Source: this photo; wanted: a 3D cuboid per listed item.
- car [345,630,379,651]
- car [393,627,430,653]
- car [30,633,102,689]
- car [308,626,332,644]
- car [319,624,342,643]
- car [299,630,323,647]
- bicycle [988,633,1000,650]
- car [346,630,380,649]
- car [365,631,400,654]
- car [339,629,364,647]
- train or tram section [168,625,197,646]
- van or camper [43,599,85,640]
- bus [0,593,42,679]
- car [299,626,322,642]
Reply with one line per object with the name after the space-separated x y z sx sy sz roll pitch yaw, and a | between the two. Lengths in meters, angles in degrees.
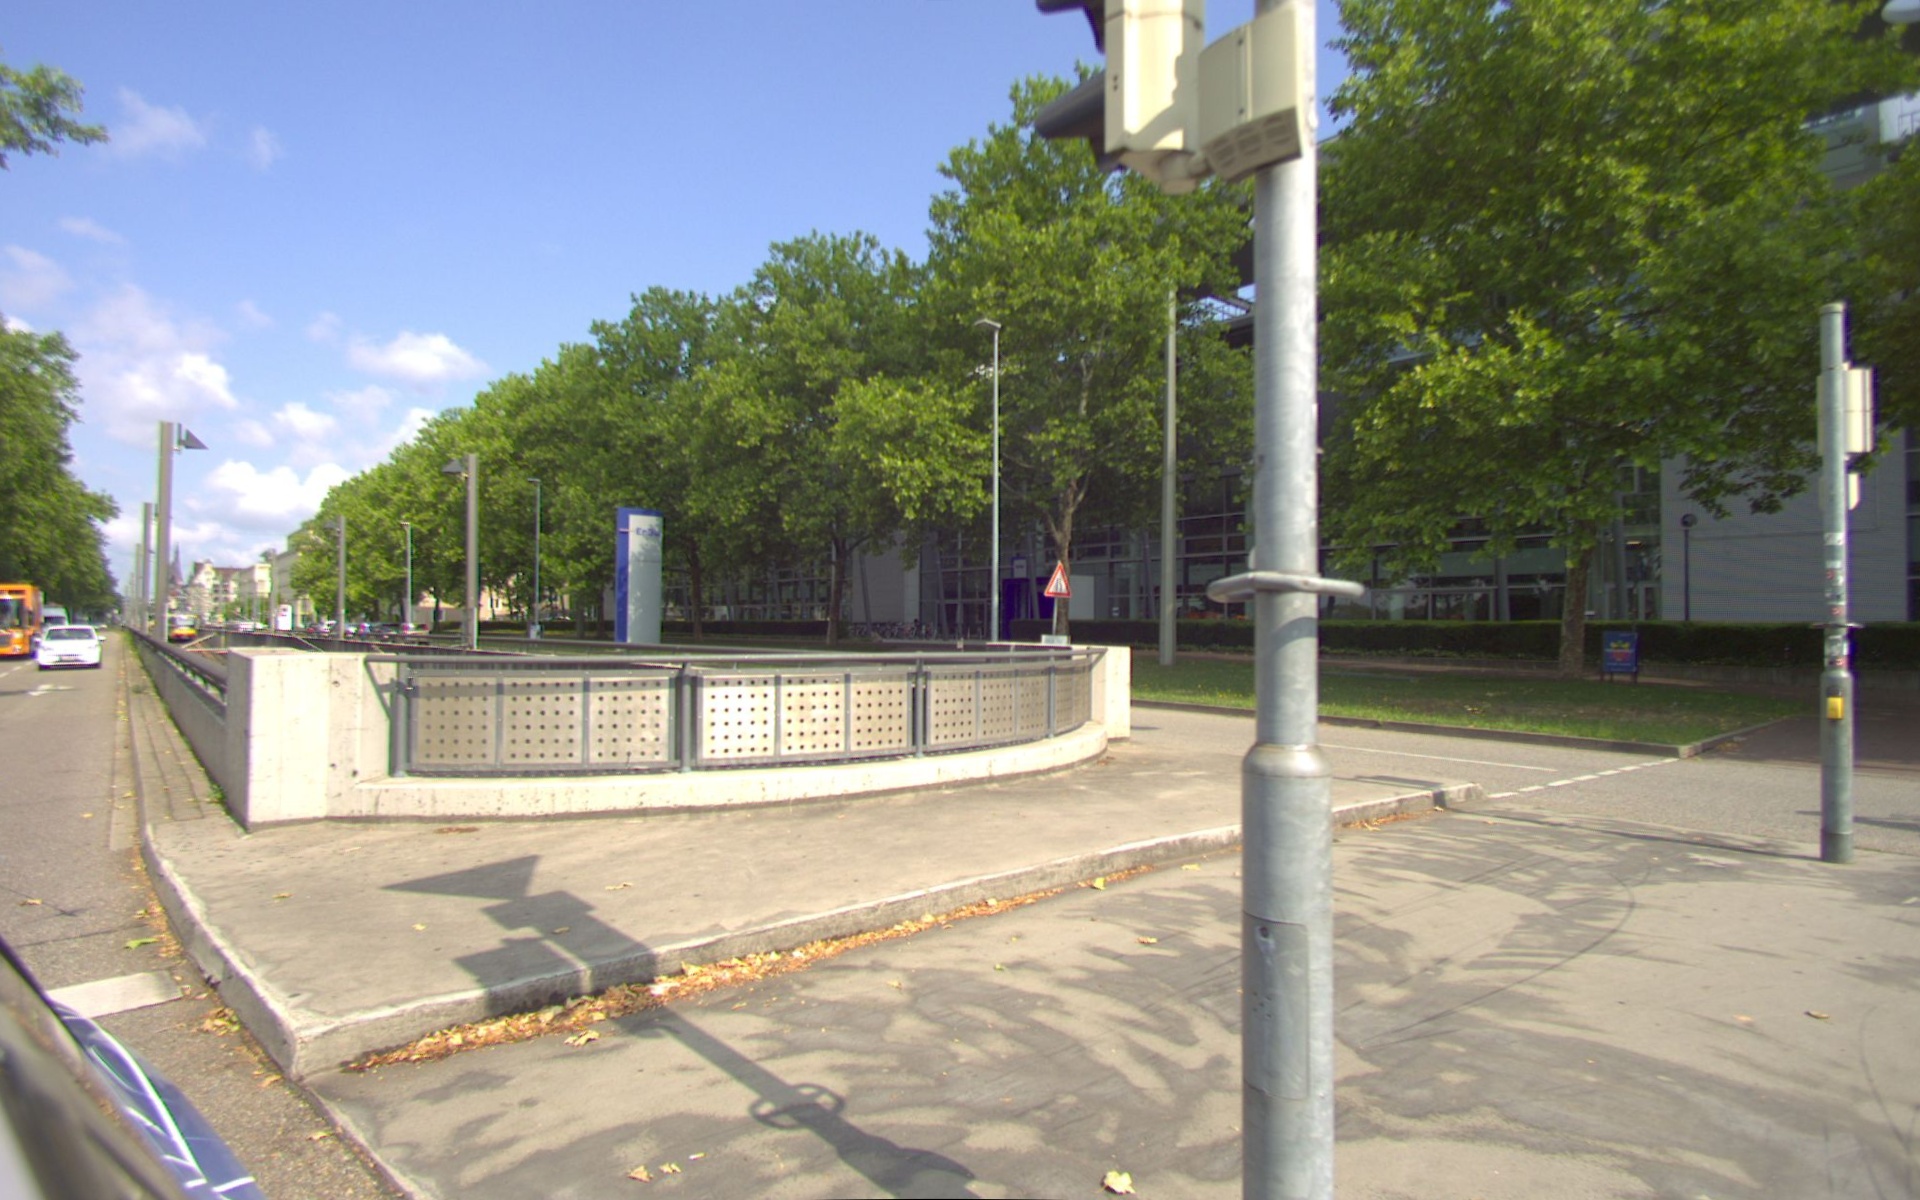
-44.180 2.993 74.713 1.555 1.386 3.903 3 -2 -39 | car
-34.749 2.533 64.106 1.399 1.467 3.162 3 -2 -40 | car
-30.457 2.029 34.491 1.711 1.497 3.607 -3 3 -42 | car
-53.901 2.953 85.224 1.289 1.386 3.190 3 -2 -40 | car
-50.488 2.695 81.136 1.149 1.386 2.750 3 -2 -40 | car
-56.801 3.351 88.559 1.289 1.386 3.190 3 -2 -40 | car
2.123 2.587 63.297 0.587 1.031 2.333 1 -1 6 | bicycle
-43.910 2.912 74.428 1.587 1.214 3.133 3 -2 -40 | car
-39.612 2.881 69.397 1.558 1.445 3.162 3 -2 -40 | car
-46.537 2.880 77.391 1.163 1.252 2.553 2 -1 -40 | car
-98.844 4.452 128.630 2.185 2.477 6.253 1 0 -45 | train or tram section
-64.174 1.374 72.561 2.131 2.807 5.974 1 -1 -41 | van or camper
-43.504 1.470 45.543 2.703 3.492 10.413 1 0 -40 | bus
-59.566 3.120 92.796 1.289 1.386 3.190 3 -2 -40 | car
